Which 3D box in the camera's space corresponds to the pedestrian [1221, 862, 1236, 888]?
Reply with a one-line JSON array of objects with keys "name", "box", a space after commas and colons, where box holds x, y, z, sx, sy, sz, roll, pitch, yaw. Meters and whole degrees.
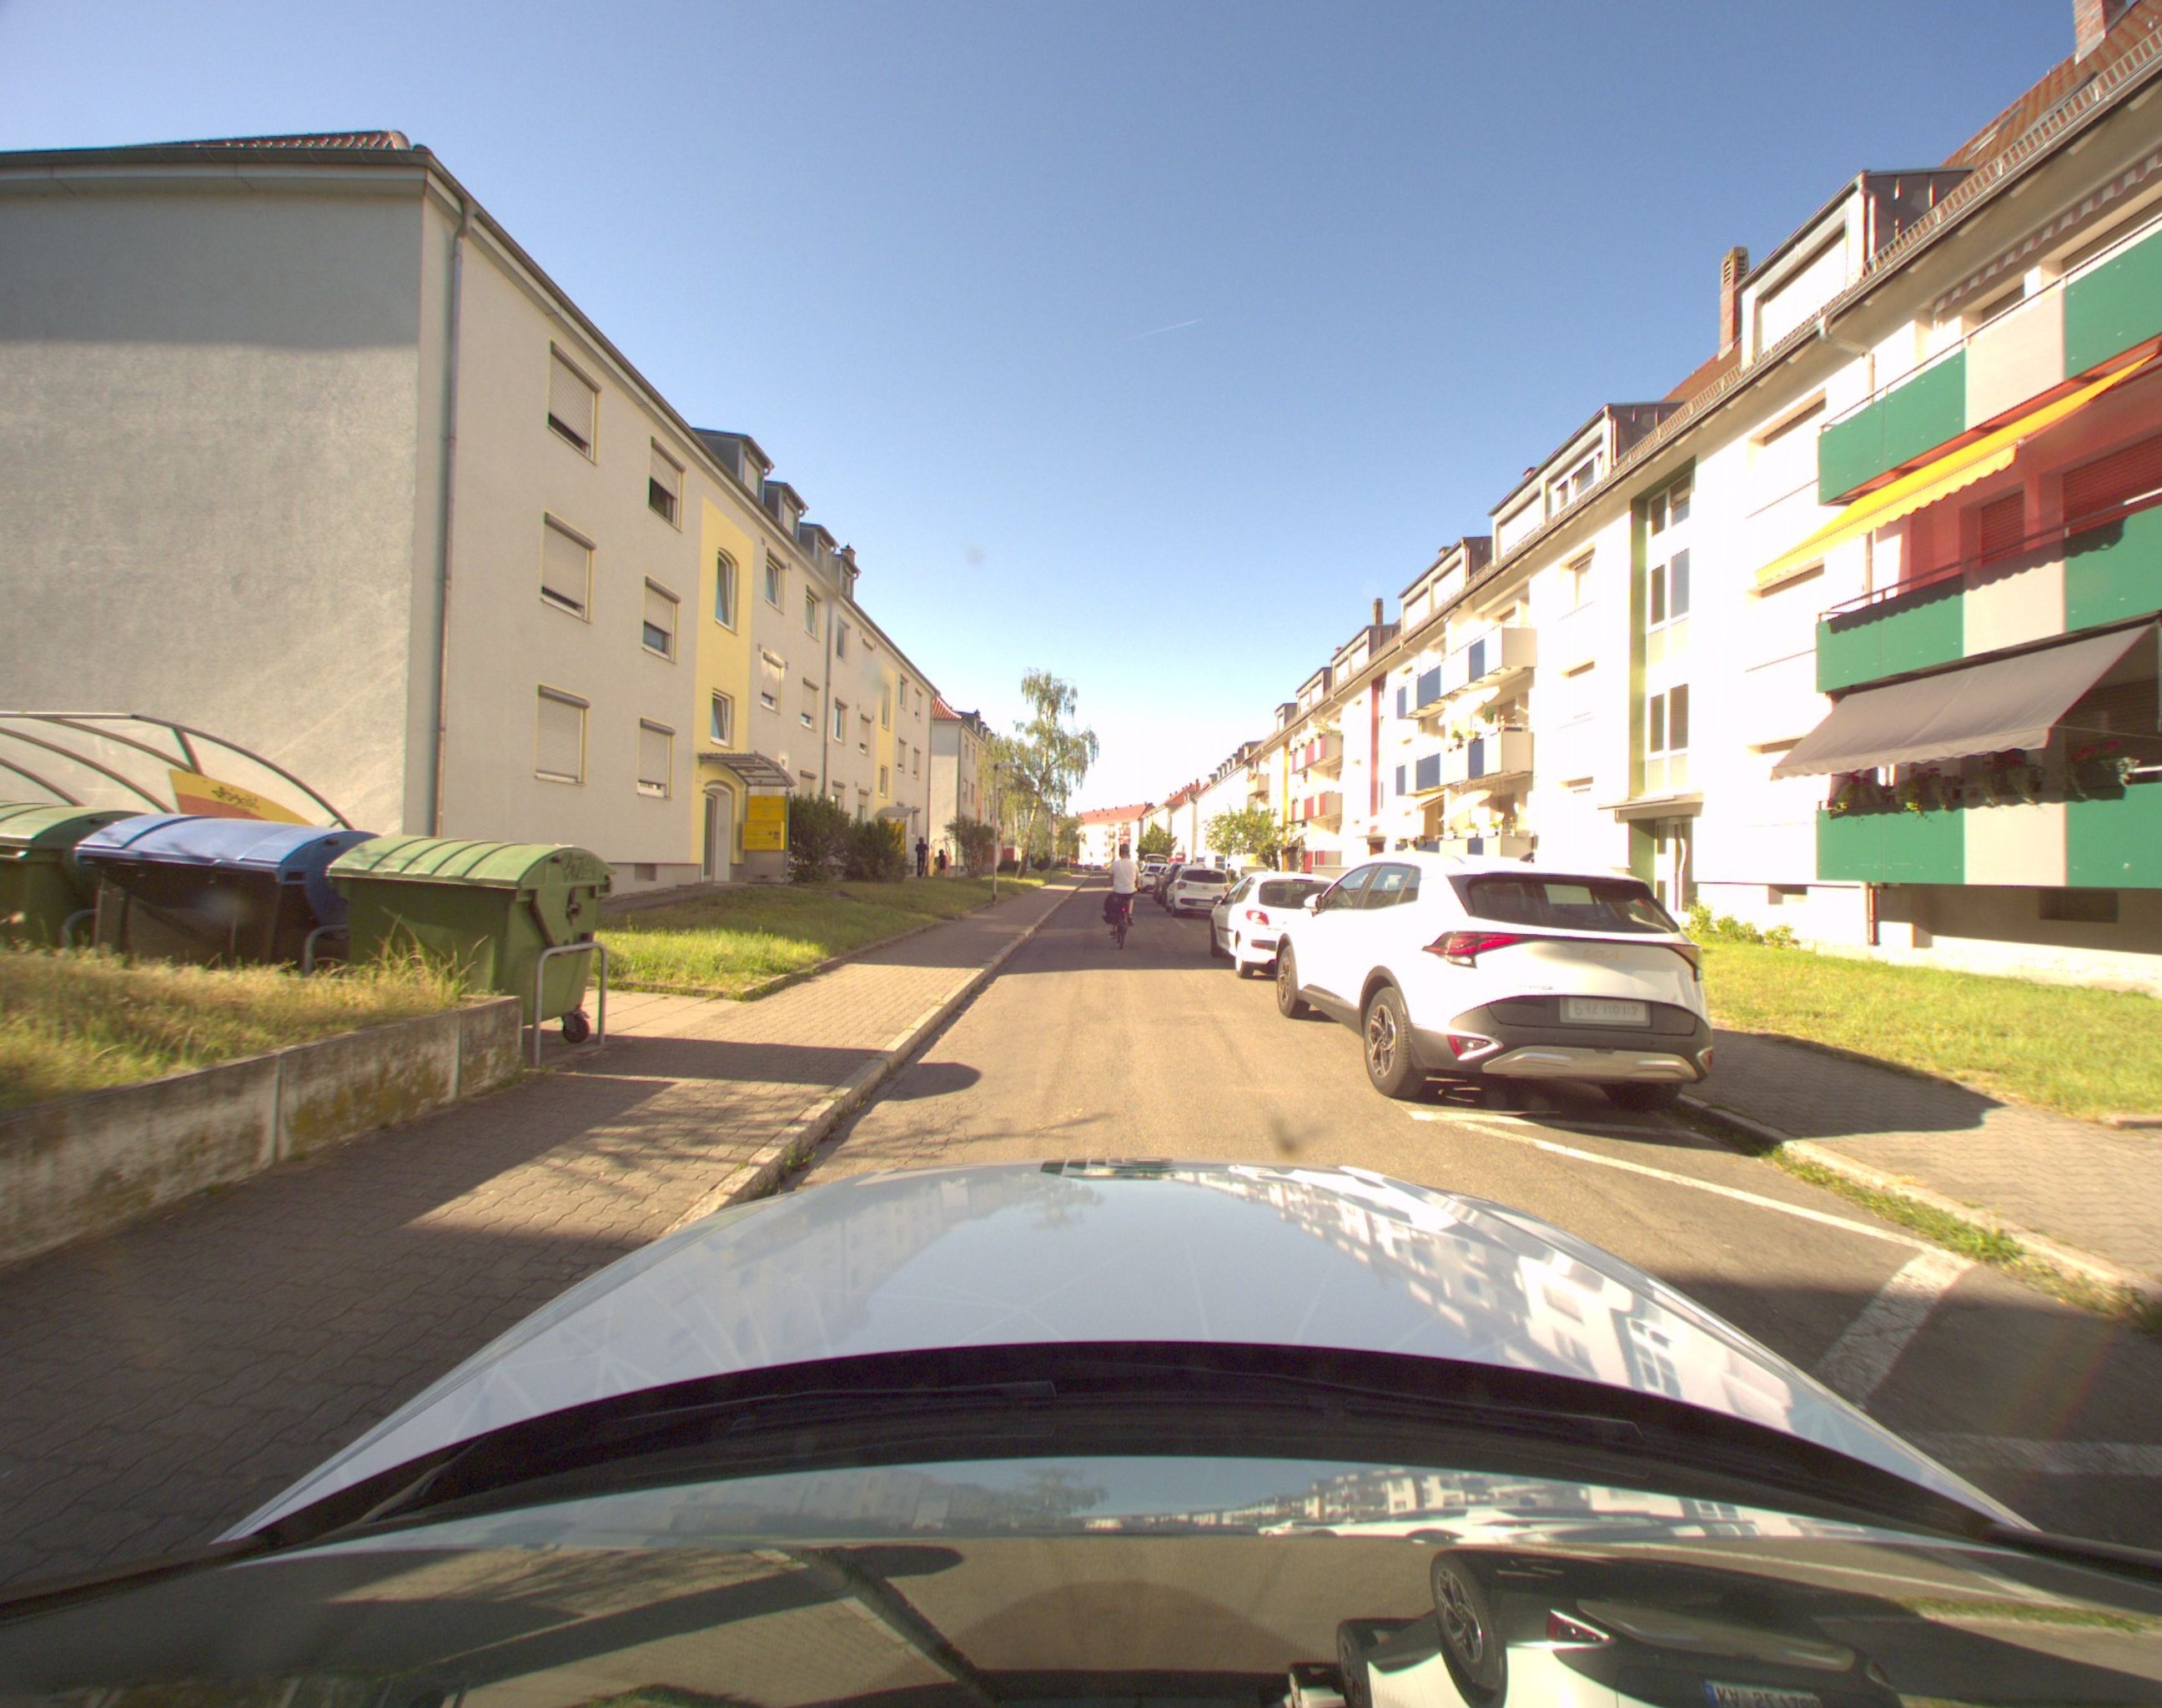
[{"name": "pedestrian", "box": [9.609, 1.340, 52.972, 0.705, 1.678, 0.798, 0, -1, 29]}]

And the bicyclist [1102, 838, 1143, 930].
[{"name": "bicyclist", "box": [0.734, 0.524, 14.621, 0.691, 1.596, 0.791, 1, -1, 2]}]

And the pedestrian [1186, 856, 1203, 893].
[{"name": "pedestrian", "box": [6.303, 1.115, 45.285, 0.788, 2.014, 1.083, 0, -1, 2]}]

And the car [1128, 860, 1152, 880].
[{"name": "car", "box": [4.910, 1.296, 68.183, 1.799, 1.604, 4.405, 1, -1, 2]}]

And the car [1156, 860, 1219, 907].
[{"name": "car", "box": [3.728, 1.008, 29.162, 1.828, 1.558, 4.001, 1, -1, 2]}]

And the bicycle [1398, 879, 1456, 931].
[{"name": "bicycle", "box": [7.842, 1.130, 18.541, 0.557, 1.093, 1.901, 1, -1, 2]}]

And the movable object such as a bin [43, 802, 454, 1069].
[{"name": "movable object such as a bin", "box": [-5.645, 0.508, 5.682, 1.493, 1.623, 1.264, 1, -1, 1]}]

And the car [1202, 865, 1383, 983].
[{"name": "car", "box": [2.943, 0.911, 12.101, 1.751, 1.432, 3.628, 2, -1, 0]}]

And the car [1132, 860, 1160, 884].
[{"name": "car", "box": [4.550, 1.251, 57.391, 1.799, 1.550, 4.001, 1, -1, 2]}]

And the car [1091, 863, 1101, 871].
[{"name": "car", "box": [3.132, 2.704, 168.001, 1.988, 1.575, 3.998, 1, -1, -1]}]

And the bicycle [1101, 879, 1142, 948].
[{"name": "bicycle", "box": [0.726, 1.031, 14.693, 0.658, 1.127, 1.766, 2, -1, 2]}]

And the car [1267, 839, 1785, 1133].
[{"name": "car", "box": [2.946, 0.761, 6.582, 1.976, 1.592, 4.124, 1, -1, 1]}]

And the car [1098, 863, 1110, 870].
[{"name": "car", "box": [5.425, 3.048, 194.917, 1.994, 1.575, 3.985, 1, -1, -10]}]

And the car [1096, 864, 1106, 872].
[{"name": "car", "box": [3.943, 2.696, 162.359, 1.752, 1.575, 3.900, 1, -1, -2]}]

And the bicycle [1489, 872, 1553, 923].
[{"name": "bicycle", "box": [10.173, 0.984, 18.890, 0.557, 1.104, 1.830, 1, -1, 2]}]

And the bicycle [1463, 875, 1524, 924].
[{"name": "bicycle", "box": [9.527, 1.024, 18.874, 0.512, 1.054, 1.866, 1, -1, 2]}]

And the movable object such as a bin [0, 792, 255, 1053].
[{"name": "movable object such as a bin", "box": [-7.120, 0.421, 5.668, 1.454, 1.613, 1.191, 1, -1, 1]}]

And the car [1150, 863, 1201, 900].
[{"name": "car", "box": [4.002, 1.145, 34.875, 1.828, 1.435, 3.753, 1, -1, 2]}]

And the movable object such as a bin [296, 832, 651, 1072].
[{"name": "movable object such as a bin", "box": [-4.152, 0.621, 5.751, 1.486, 1.478, 1.265, 1, -1, 1]}]

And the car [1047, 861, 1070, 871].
[{"name": "car", "box": [-4.059, 2.121, 146.660, 3.974, 1.801, 2.000, 0, -1, 0]}]

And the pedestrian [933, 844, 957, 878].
[{"name": "pedestrian", "box": [-6.241, 0.304, 37.296, 0.860, 1.522, 1.068, 1, -1, 1]}]

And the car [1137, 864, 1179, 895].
[{"name": "car", "box": [3.933, 1.268, 42.262, 1.887, 1.496, 4.093, 1, -1, 2]}]

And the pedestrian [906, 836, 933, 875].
[{"name": "pedestrian", "box": [-7.327, 0.068, 37.004, 0.967, 1.715, 0.947, 1, -1, 1]}]

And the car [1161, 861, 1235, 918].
[{"name": "car", "box": [3.400, 1.000, 24.223, 1.626, 1.491, 3.623, 3, -1, 0]}]

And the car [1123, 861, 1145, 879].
[{"name": "car", "box": [4.733, 1.436, 73.125, 1.799, 1.498, 4.201, 1, -1, 2]}]

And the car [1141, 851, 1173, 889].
[{"name": "car", "box": [4.435, 0.939, 48.097, 1.613, 2.144, 4.001, 1, -1, 2]}]
